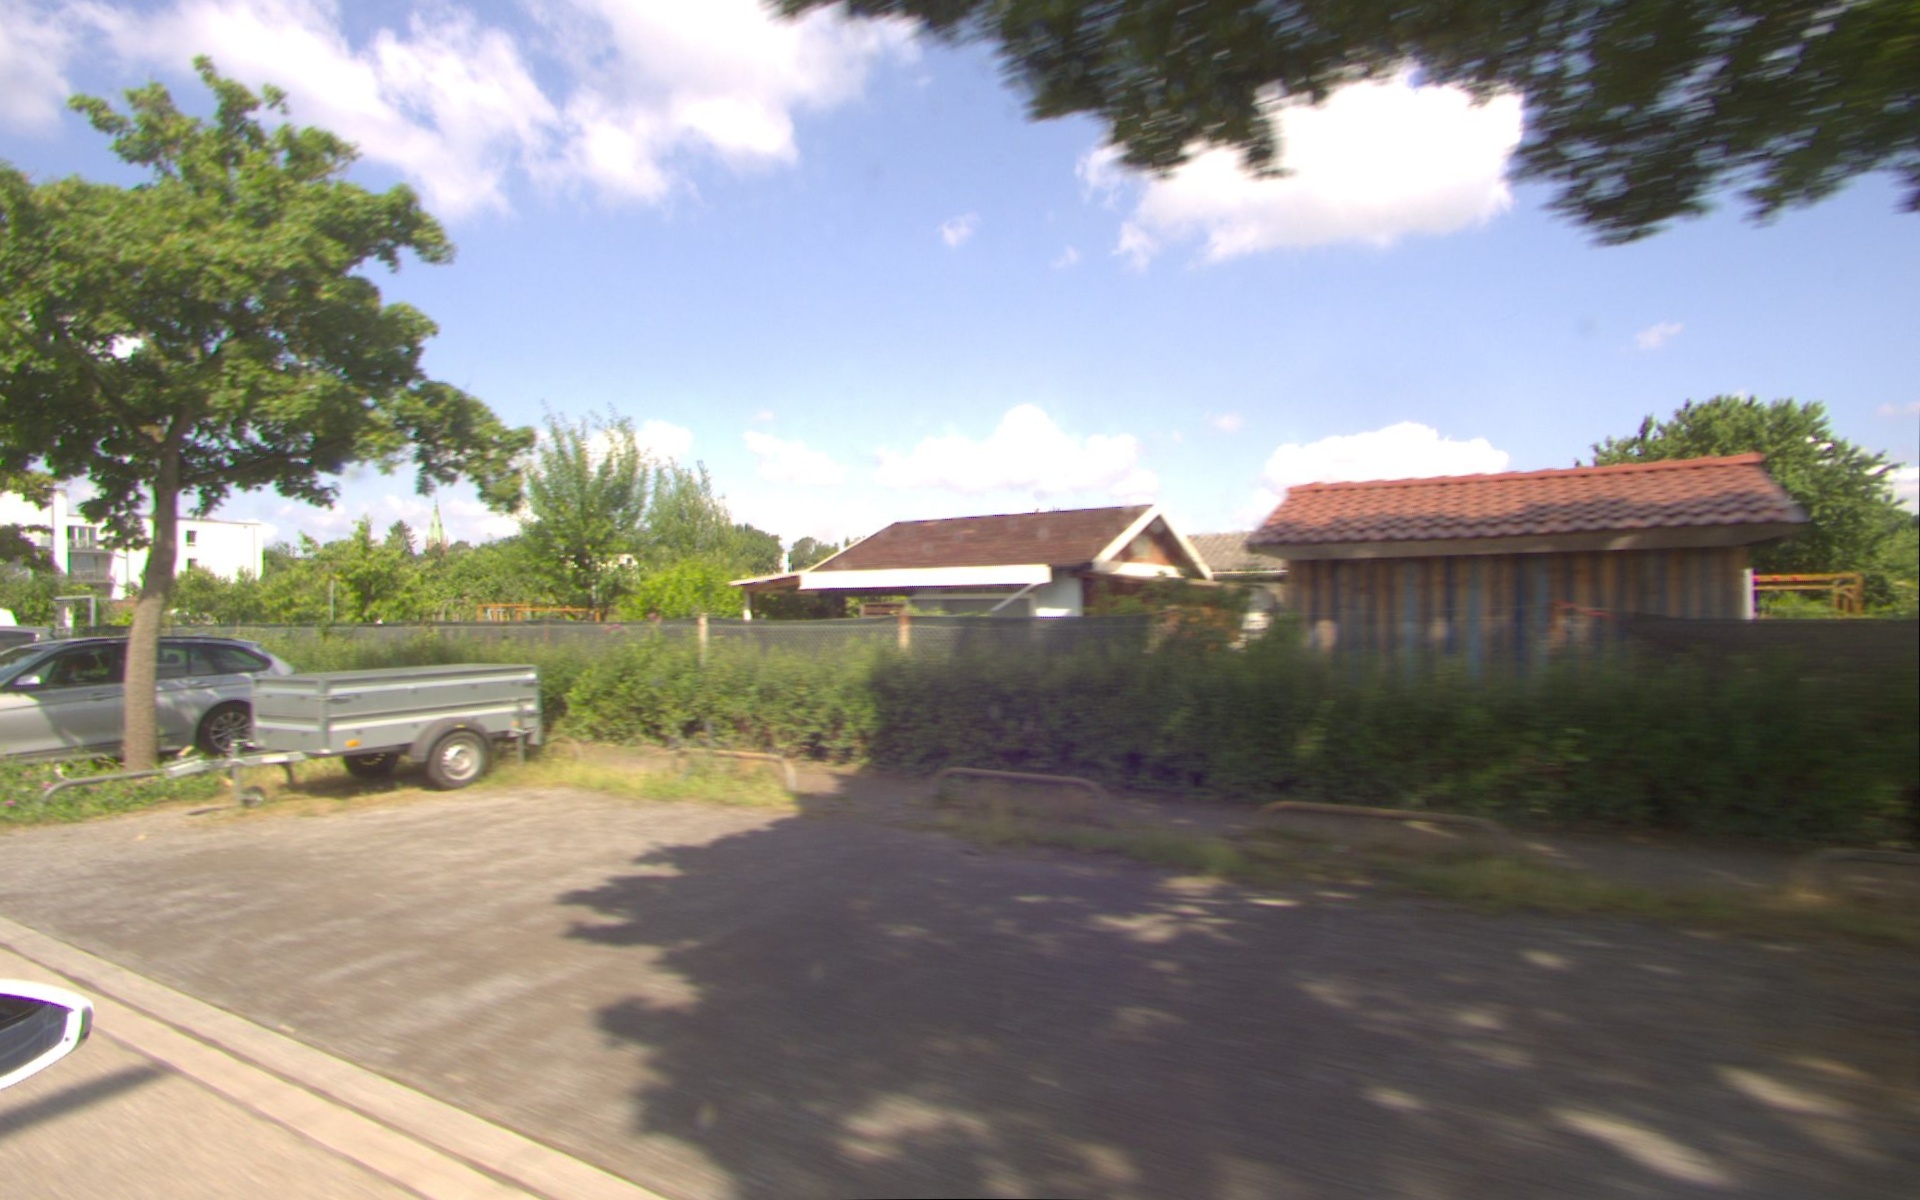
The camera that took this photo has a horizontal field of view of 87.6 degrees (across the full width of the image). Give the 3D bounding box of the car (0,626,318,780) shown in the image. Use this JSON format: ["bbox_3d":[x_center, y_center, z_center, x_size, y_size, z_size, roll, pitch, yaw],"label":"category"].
[{"bbox_3d":[-9.960,1.052,10.965,1.969,1.485,4.574,-1,-1,28],"label":"car"}]

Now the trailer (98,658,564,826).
[{"bbox_3d":[-5.581,1.144,9.182,1.971,1.157,3.095,-1,-2,32],"label":"trailer"}]

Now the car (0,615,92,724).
[{"bbox_3d":[-15.754,1.073,14.632,1.971,1.613,4.234,-1,0,32],"label":"car"}]

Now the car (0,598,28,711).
[{"bbox_3d":[-18.190,0.963,15.836,2.080,1.911,4.627,-1,0,30],"label":"car"}]
